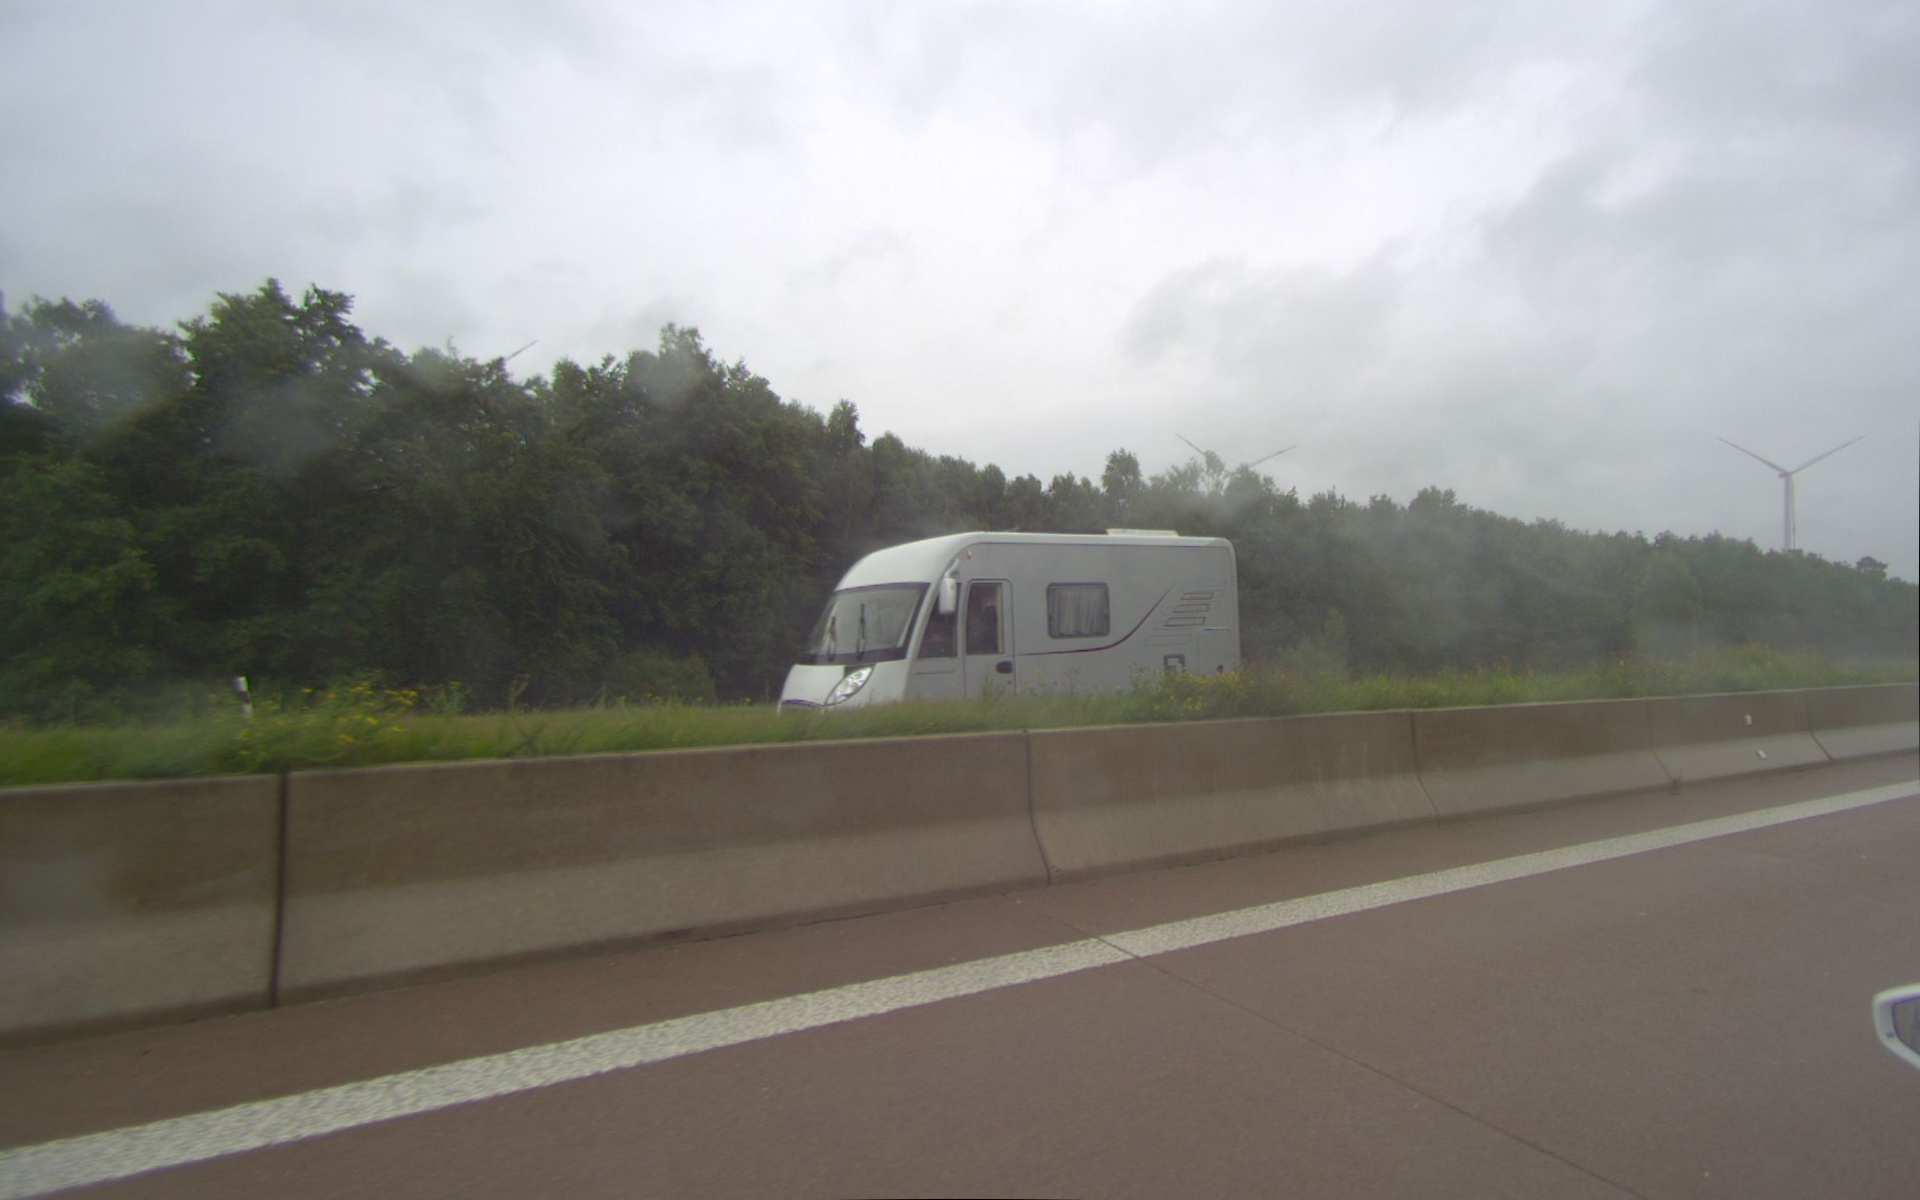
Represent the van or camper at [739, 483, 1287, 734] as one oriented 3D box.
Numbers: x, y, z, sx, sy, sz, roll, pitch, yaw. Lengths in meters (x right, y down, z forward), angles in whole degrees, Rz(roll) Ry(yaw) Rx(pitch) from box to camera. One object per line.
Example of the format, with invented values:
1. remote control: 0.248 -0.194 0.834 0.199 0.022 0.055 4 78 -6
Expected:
1. van or camper: 0.800 0.066 12.642 6.417 2.438 2.775 1 3 -32
